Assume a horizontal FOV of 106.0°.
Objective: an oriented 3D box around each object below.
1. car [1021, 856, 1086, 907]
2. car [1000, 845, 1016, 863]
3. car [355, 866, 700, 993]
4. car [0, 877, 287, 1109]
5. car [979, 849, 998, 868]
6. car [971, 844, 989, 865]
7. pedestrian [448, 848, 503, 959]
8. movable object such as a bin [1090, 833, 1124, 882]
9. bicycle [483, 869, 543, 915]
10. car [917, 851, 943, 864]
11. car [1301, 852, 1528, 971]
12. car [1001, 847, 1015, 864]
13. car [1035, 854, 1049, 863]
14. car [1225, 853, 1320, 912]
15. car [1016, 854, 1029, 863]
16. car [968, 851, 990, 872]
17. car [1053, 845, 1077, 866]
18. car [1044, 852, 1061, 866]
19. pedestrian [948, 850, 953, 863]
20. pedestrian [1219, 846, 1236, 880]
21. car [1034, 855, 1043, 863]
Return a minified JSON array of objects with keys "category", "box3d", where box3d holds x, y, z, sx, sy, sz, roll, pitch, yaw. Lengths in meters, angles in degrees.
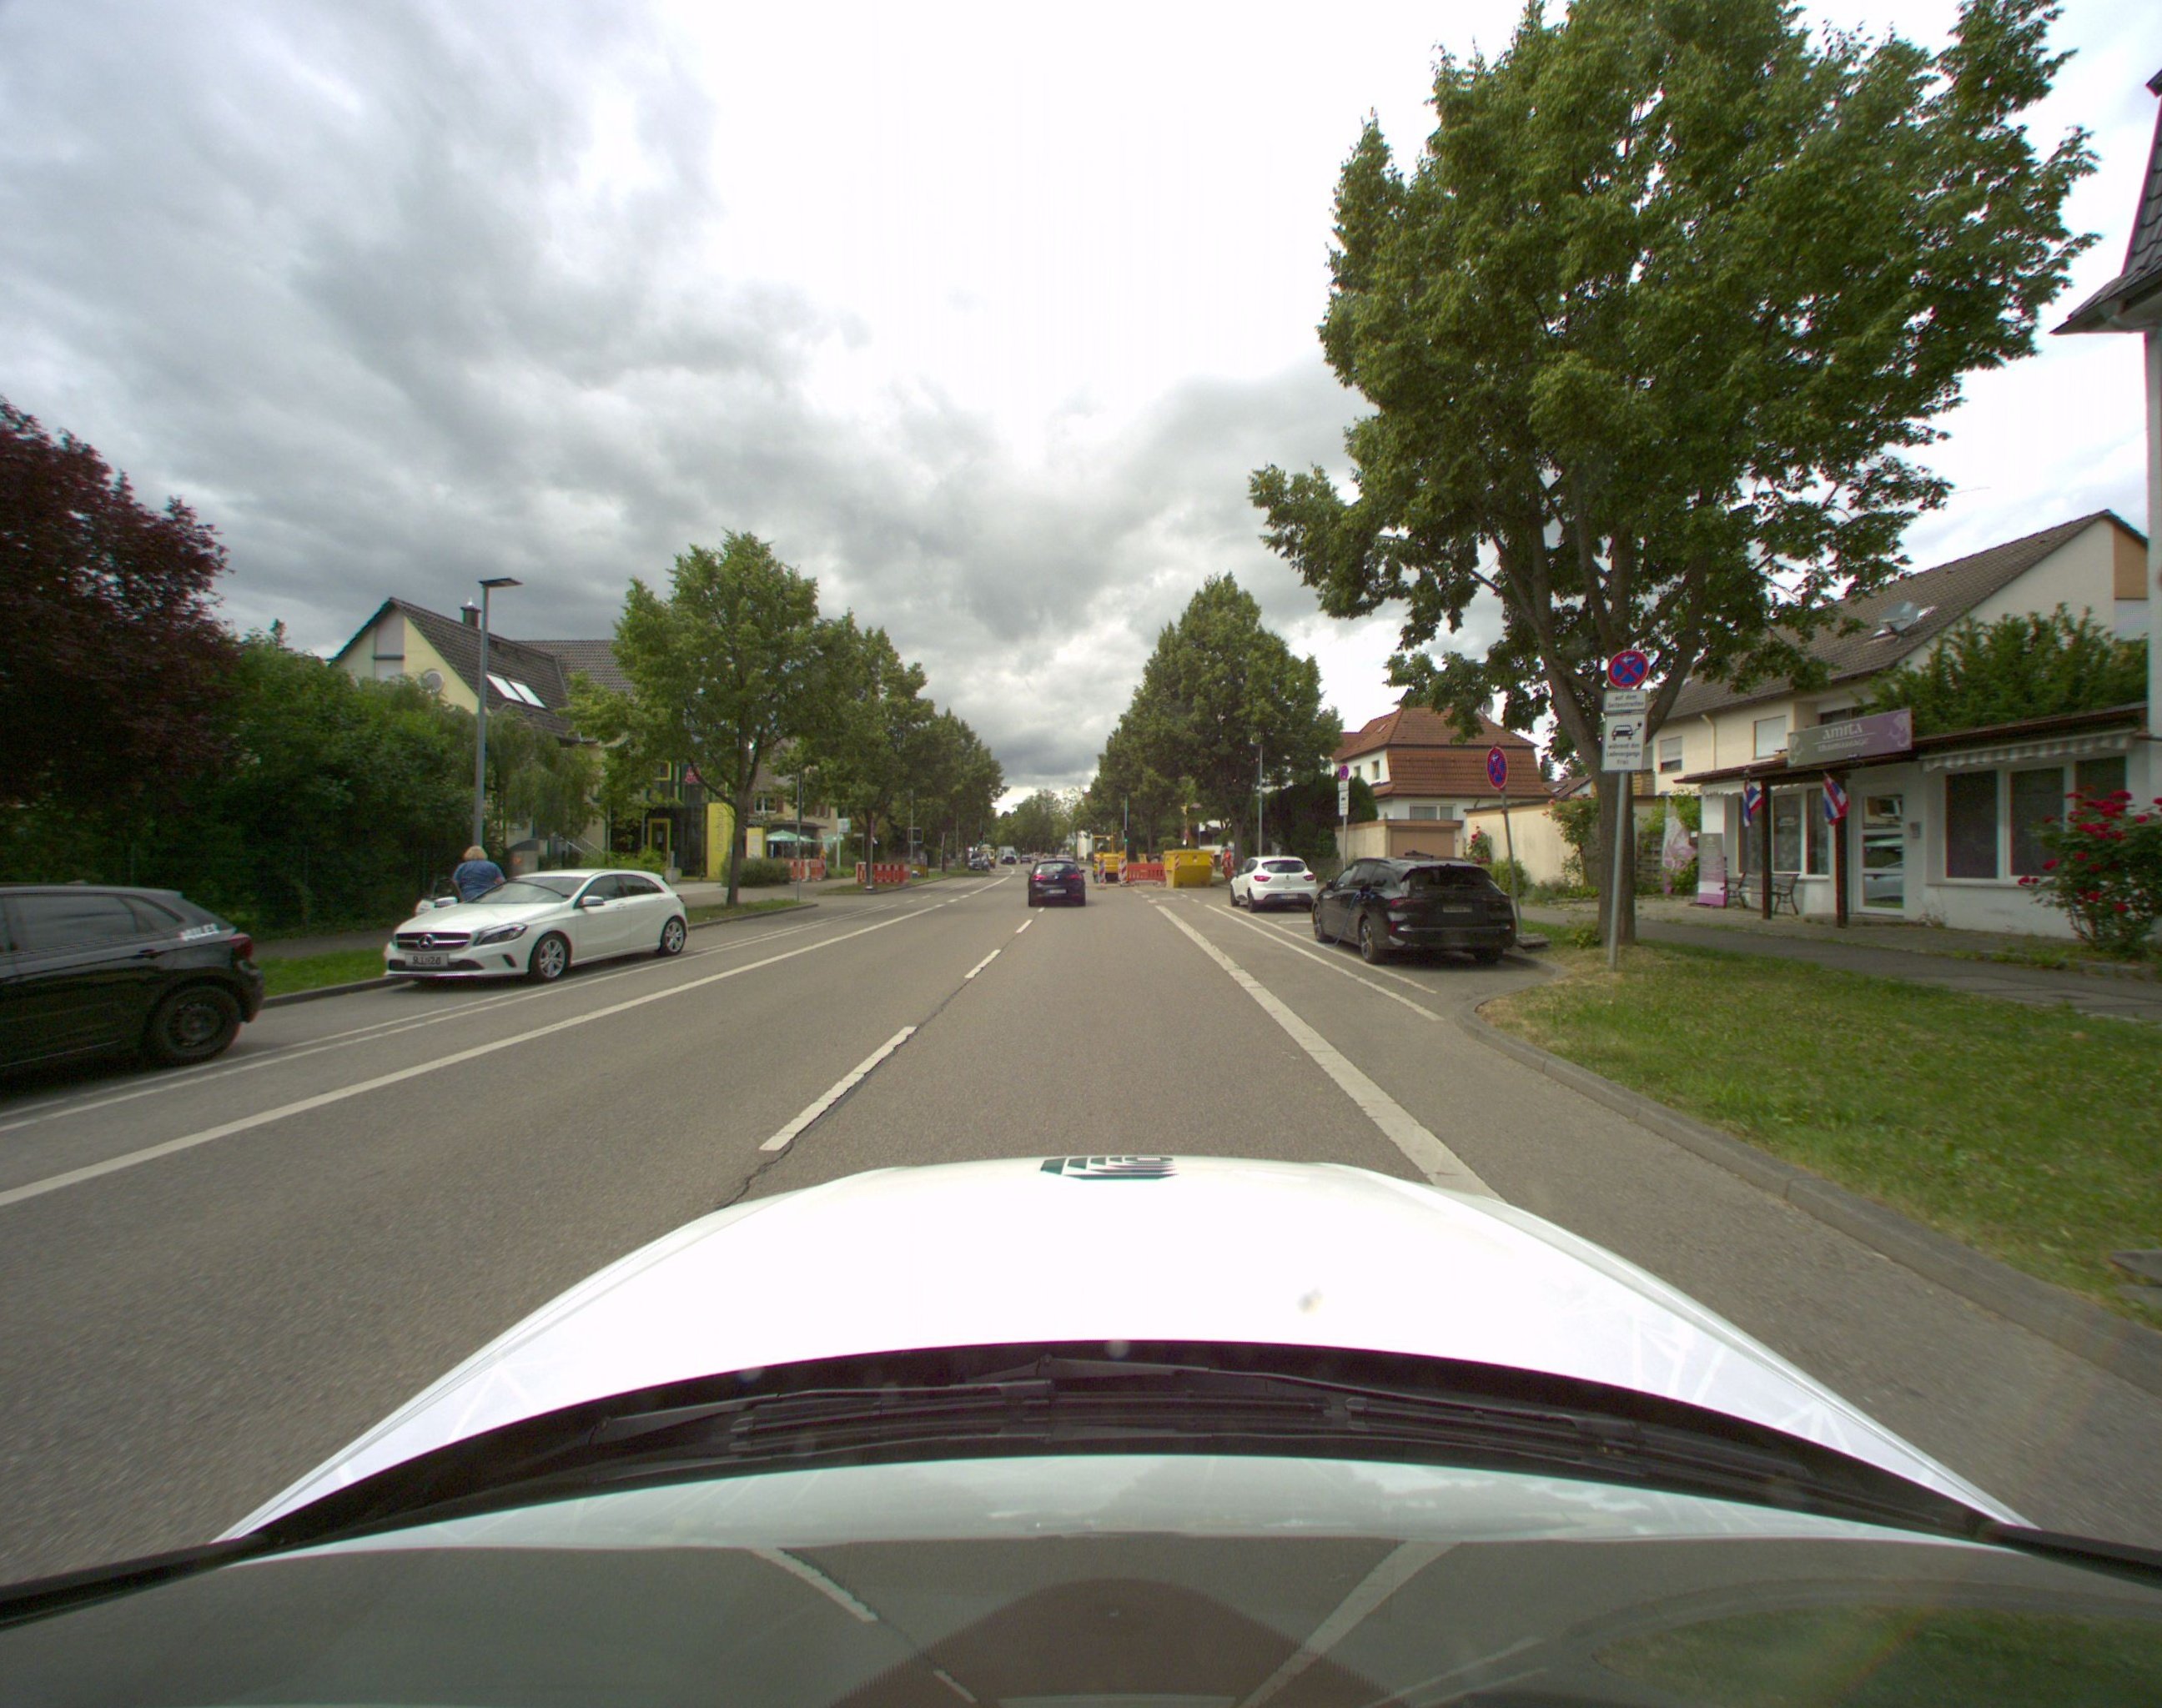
[{"category":"car","box3d":[-0.798,0.807,25.569,1.812,1.437,3.740,-1,0,1]},{"category":"car","box3d":[-11.743,0.034,131.243,2.284,2.792,7.132,-1,0,-4]},{"category":"car","box3d":[-7.440,0.911,11.599,1.706,1.406,4.306,-1,0,5]},{"category":"car","box3d":[-7.719,0.927,4.994,1.636,1.420,4.022,-1,0,2]},{"category":"car","box3d":[-10.605,0.501,93.777,2.089,2.175,5.035,-1,0,-5]},{"category":"car","box3d":[-12.883,0.027,104.208,2.089,2.626,5.035,-1,0,-5]},{"category":"pedestrian","box3d":[-8.694,0.686,11.712,0.585,1.529,0.692,0,0,-33]},{"category":"movable object such as a bin","box3d":[1.376,0.180,44.453,1.762,2.574,3.740,0,0,1]},{"category":"bicycle","box3d":[-13.919,0.904,20.000,0.461,1.048,1.579,0,0,-4]},{"category":"car","box3d":[-22.156,0.470,119.604,3.677,1.926,1.675,-1,0,-6]},{"category":"car","box3d":[4.744,0.715,12.373,1.699,1.454,4.619,-1,0,2]},{"category":"car","box3d":[-11.184,0.238,125.095,2.025,2.385,5.253,-1,0,-5]},{"category":"car","box3d":[-6.095,0.673,126.210,1.809,1.415,3.682,0,0,-8]},{"category":"car","box3d":[5.118,0.714,22.270,1.666,1.462,4.000,-1,0,0]},{"category":"car","box3d":[-9.335,0.707,130.480,1.809,1.375,3.681,0,0,-9]},{"category":"car","box3d":[-8.965,0.671,71.854,1.664,1.772,4.460,-1,0,-5]},{"category":"car","box3d":[-1.342,0.121,69.368,1.899,1.685,3.741,-1,0,1]},{"category":"car","box3d":[-3.486,0.579,99.929,1.789,1.623,3.731,-1,0,-7]},{"category":"pedestrian","box3d":[-17.029,0.293,106.468,0.594,1.741,0.573,0,0,-6]},{"category":"pedestrian","box3d":[7.084,0.435,39.358,0.702,1.634,0.643,-1,0,0]},{"category":"car","box3d":[-8.646,1.023,167.774,1.805,1.415,3.689,0,0,-3]}]
